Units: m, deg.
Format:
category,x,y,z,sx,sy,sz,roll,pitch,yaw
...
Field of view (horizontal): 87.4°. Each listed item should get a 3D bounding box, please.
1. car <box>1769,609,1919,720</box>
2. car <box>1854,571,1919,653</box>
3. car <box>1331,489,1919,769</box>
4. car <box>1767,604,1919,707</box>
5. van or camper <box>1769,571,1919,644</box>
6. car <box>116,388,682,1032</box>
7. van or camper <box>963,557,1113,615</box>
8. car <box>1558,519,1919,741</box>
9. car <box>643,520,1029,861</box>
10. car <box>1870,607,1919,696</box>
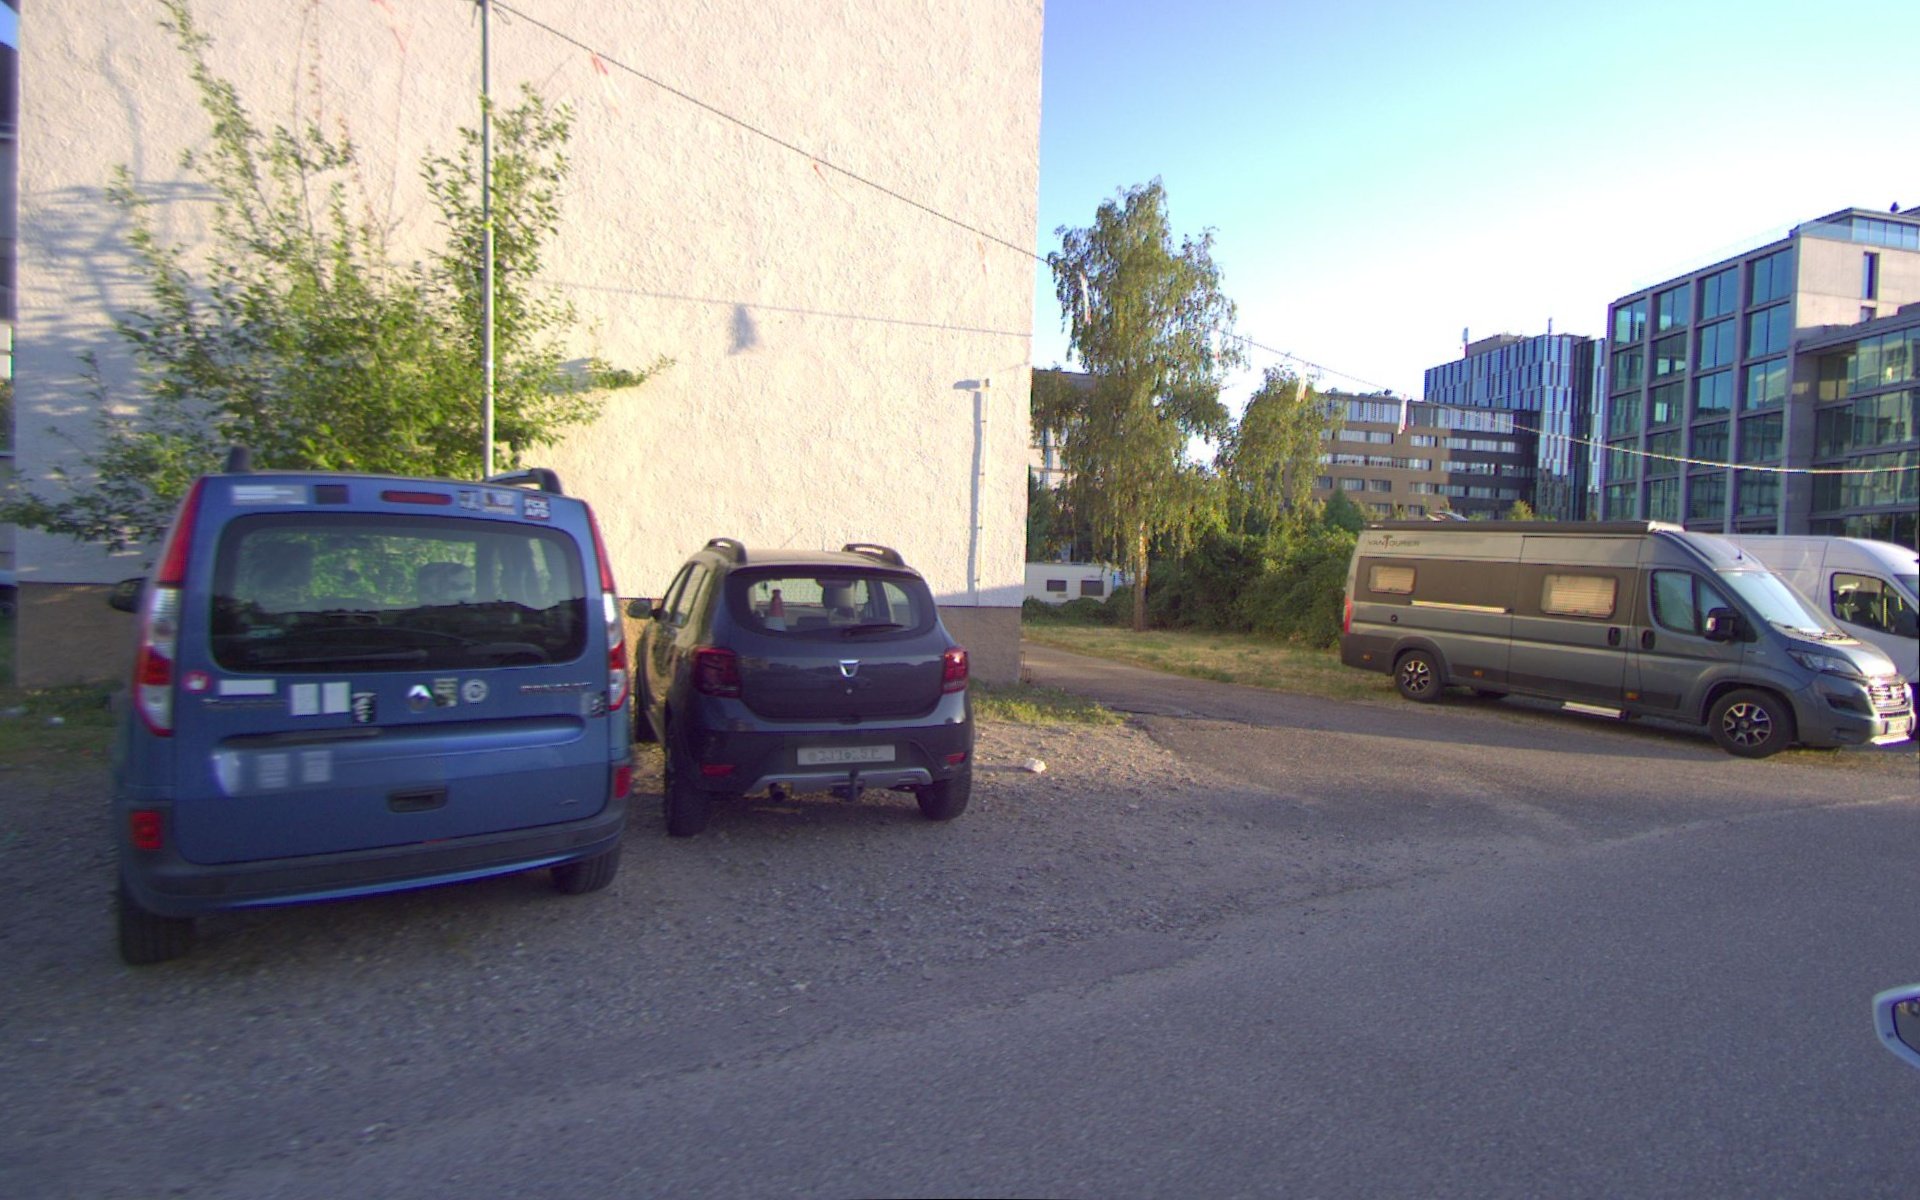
category,x,y,z,sx,sy,sz,roll,pitch,yaw
car,14.824,1.011,14.953,1.765,1.527,3.915,2,1,-24
car,33.496,0.513,32.750,2.185,2.709,6.243,2,2,-14
car,8.245,0.120,13.085,2.090,2.749,6.353,2,3,-31
car,16.577,0.995,17.193,1.724,1.612,3.914,3,1,-24
van or camper,26.786,0.188,29.517,1.901,1.916,4.336,2,2,-15
car,-2.994,0.223,5.086,1.732,1.937,3.896,0,4,-37
van or camper,3.008,-0.516,38.776,5.487,2.087,1.769,1,0,-14
car,12.097,0.285,14.369,2.024,2.750,5.804,1,3,-26
car,-1.165,0.346,7.035,1.722,1.674,3.917,1,3,-22
car,18.811,1.026,17.567,1.719,1.612,3.924,2,2,-16
